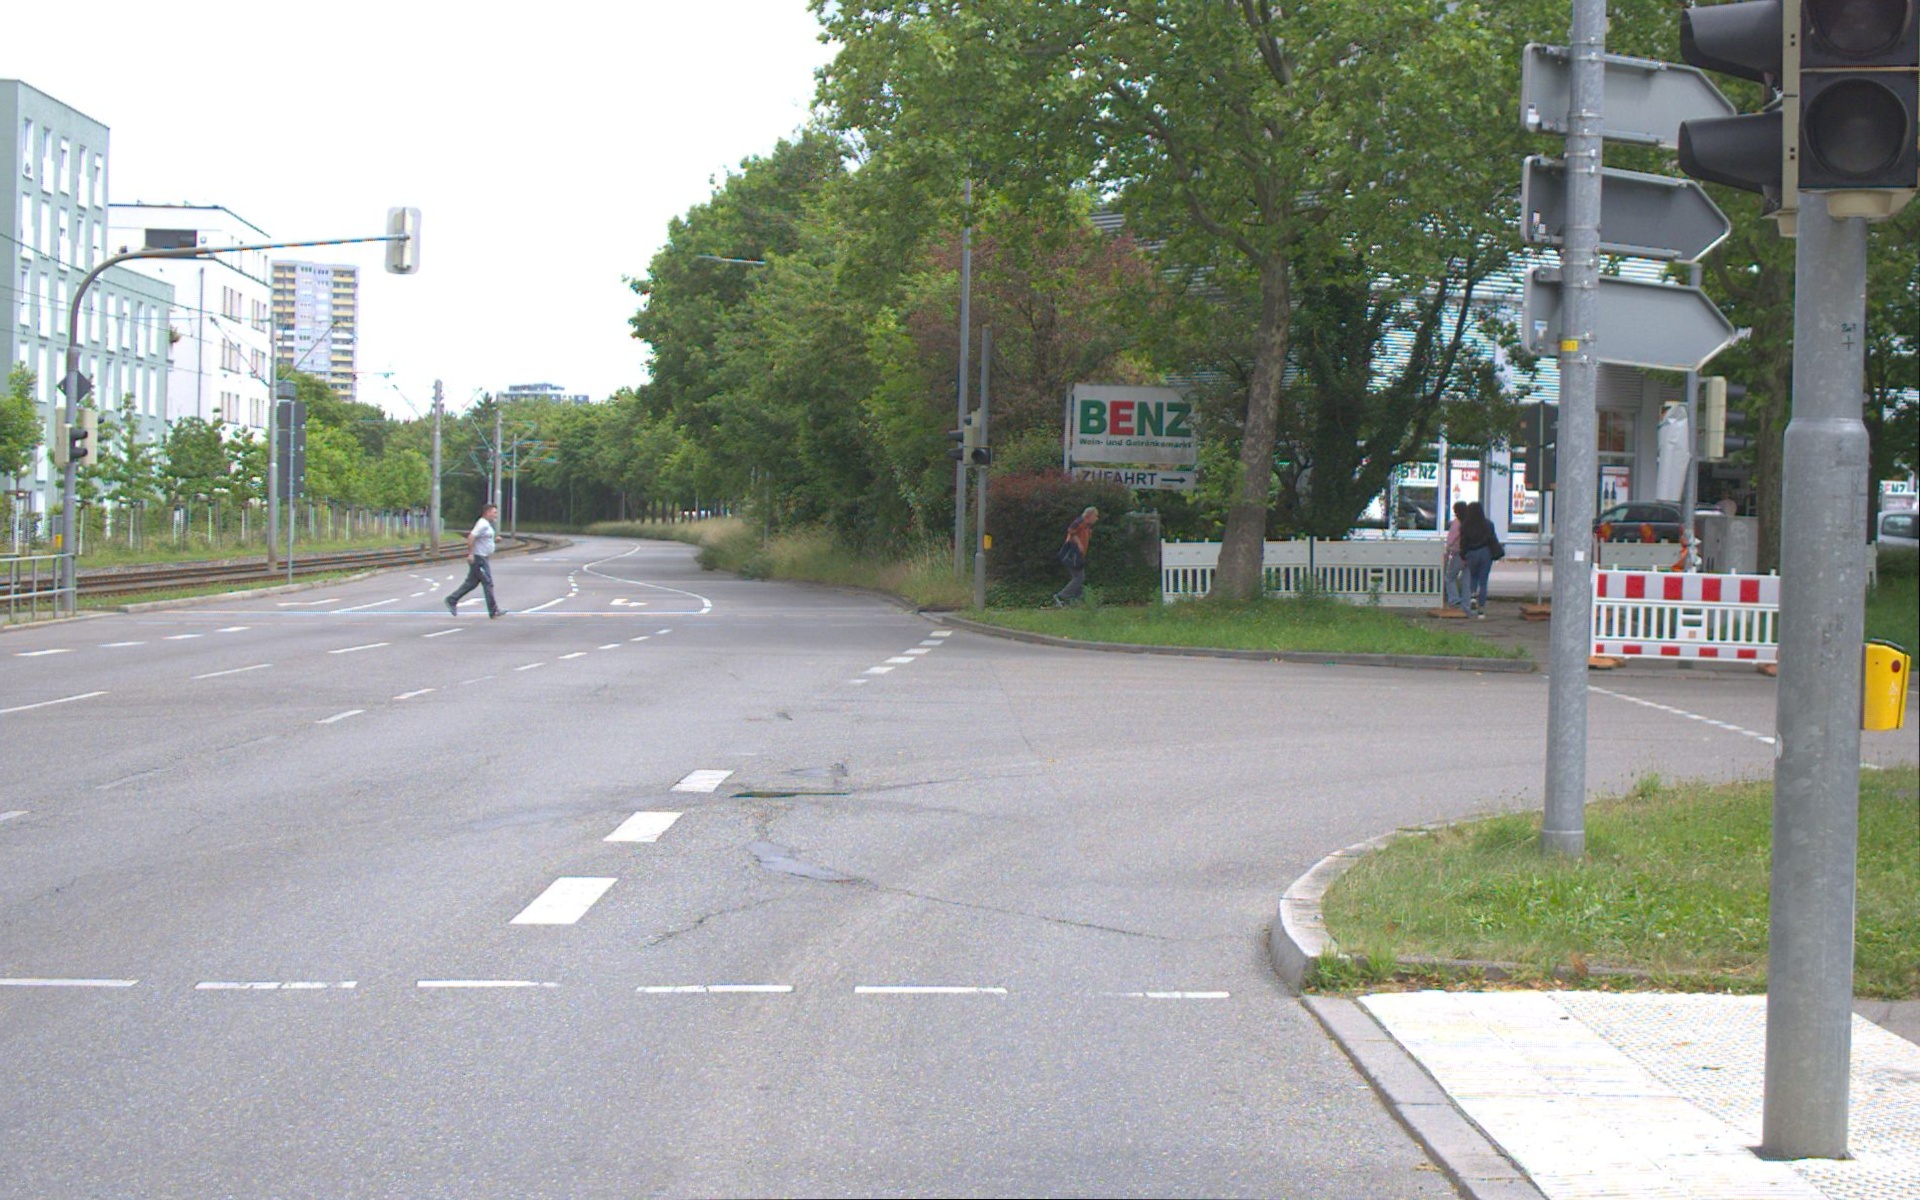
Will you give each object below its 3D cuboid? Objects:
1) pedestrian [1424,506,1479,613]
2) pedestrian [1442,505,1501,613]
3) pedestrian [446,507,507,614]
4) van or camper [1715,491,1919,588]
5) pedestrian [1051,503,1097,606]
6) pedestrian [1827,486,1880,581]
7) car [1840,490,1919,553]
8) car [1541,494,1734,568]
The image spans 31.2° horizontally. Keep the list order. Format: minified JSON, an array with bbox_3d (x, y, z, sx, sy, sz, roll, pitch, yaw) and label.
[{"bbox_3d":[6.903,-0.570,48.293,0.686,1.484,0.699,1,0,3],"label":"pedestrian"},{"bbox_3d":[7.077,-0.568,47.589,0.718,1.484,0.699,1,0,4],"label":"pedestrian"},{"bbox_3d":[-7.258,-0.593,51.663,0.848,1.581,0.796,1,0,-5],"label":"pedestrian"},{"bbox_3d":[15.666,-1.115,61.996,1.840,1.678,4.001,-1,2,-28],"label":"van or camper"},{"bbox_3d":[1.719,-0.680,51.726,0.653,1.533,0.773,1,0,3],"label":"pedestrian"},{"bbox_3d":[18.828,-1.396,72.466,0.804,1.995,0.853,1,0,-5],"label":"pedestrian"},{"bbox_3d":[21.820,-1.784,78.220,1.480,1.399,3.409,0,1,-31],"label":"car"},{"bbox_3d":[14.241,-1.445,72.510,1.728,1.495,4.269,1,1,-27],"label":"car"}]
